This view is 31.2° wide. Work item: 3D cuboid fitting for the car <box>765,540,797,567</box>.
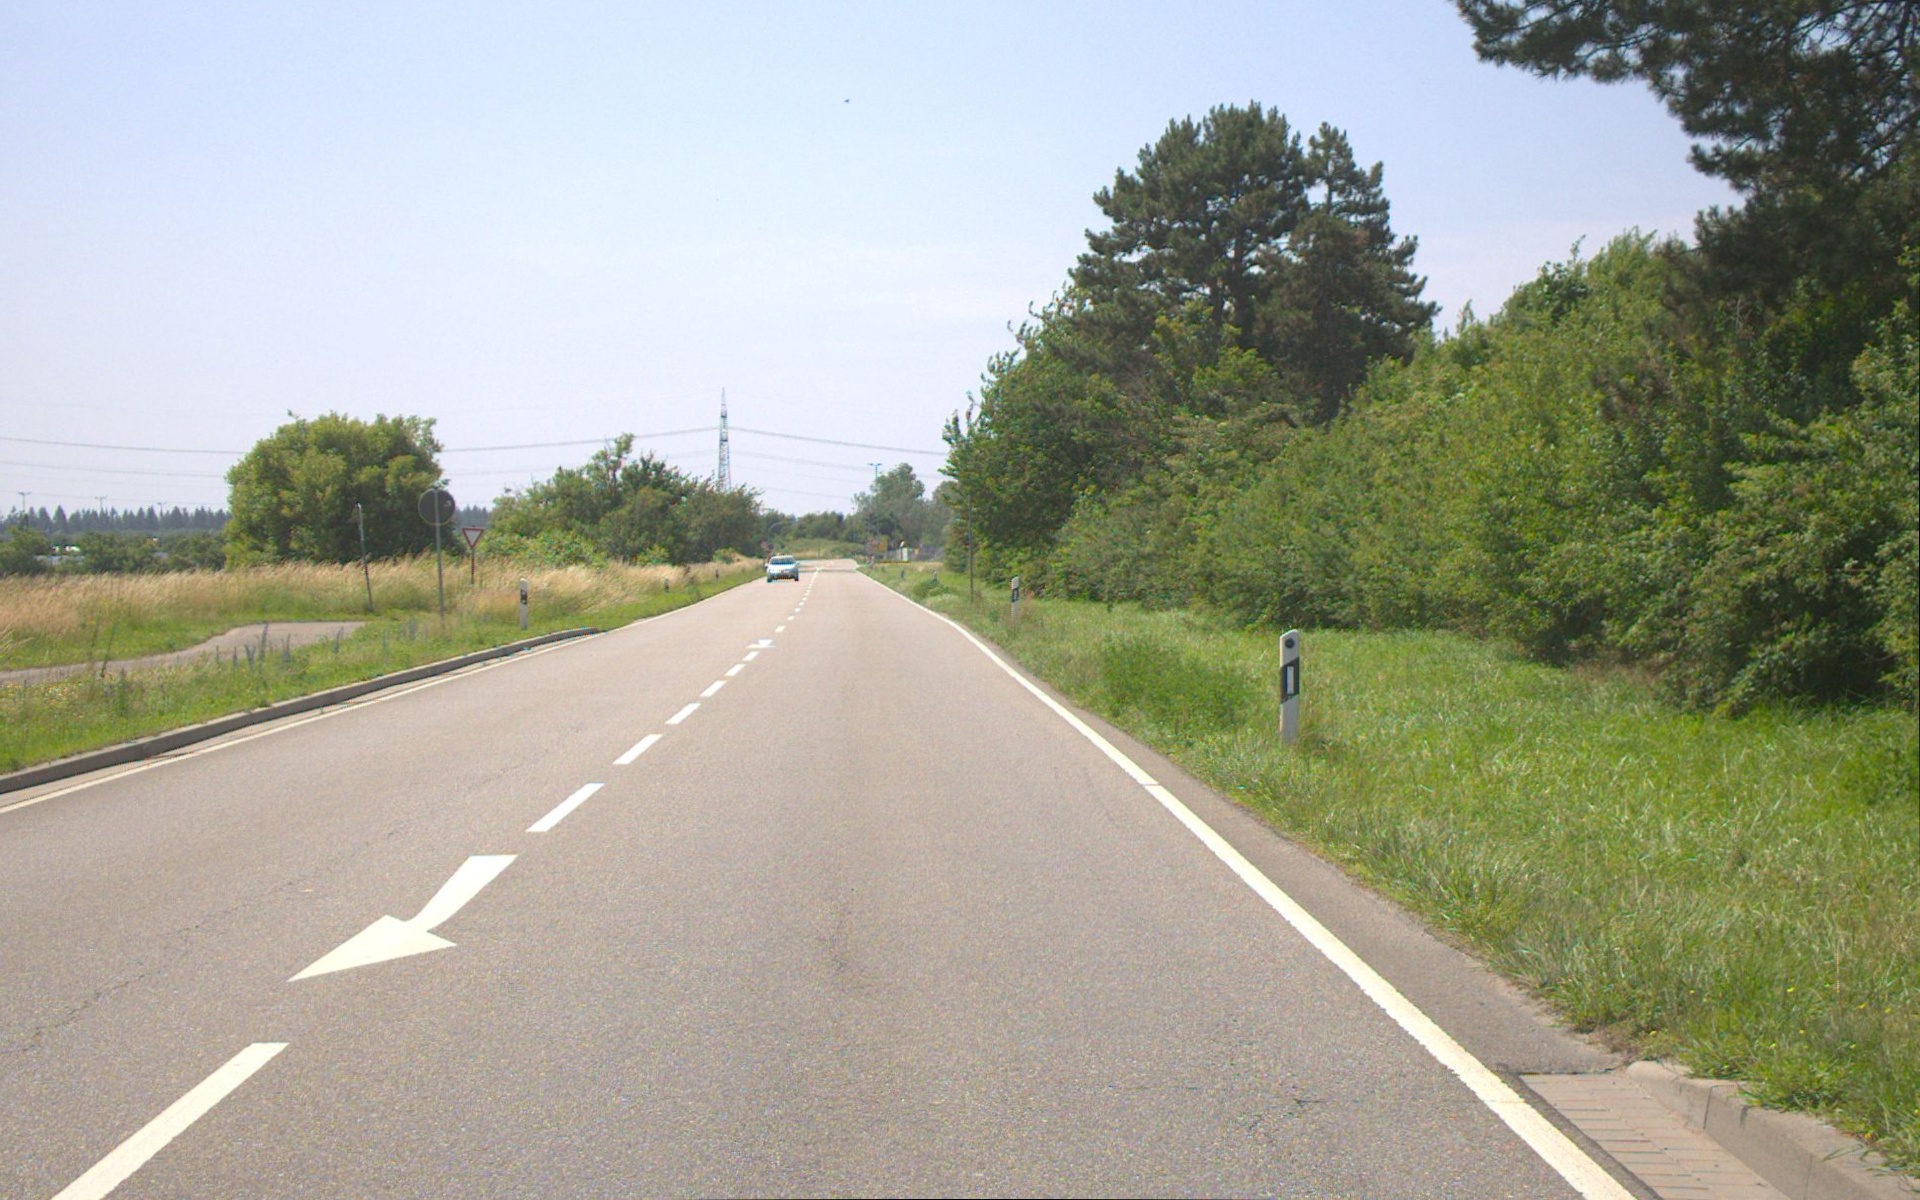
[{"bbox_3d":[-10.196,-2.660,196.029,1.678,1.416,4.422,-3,1,-2],"label":"car"}]
